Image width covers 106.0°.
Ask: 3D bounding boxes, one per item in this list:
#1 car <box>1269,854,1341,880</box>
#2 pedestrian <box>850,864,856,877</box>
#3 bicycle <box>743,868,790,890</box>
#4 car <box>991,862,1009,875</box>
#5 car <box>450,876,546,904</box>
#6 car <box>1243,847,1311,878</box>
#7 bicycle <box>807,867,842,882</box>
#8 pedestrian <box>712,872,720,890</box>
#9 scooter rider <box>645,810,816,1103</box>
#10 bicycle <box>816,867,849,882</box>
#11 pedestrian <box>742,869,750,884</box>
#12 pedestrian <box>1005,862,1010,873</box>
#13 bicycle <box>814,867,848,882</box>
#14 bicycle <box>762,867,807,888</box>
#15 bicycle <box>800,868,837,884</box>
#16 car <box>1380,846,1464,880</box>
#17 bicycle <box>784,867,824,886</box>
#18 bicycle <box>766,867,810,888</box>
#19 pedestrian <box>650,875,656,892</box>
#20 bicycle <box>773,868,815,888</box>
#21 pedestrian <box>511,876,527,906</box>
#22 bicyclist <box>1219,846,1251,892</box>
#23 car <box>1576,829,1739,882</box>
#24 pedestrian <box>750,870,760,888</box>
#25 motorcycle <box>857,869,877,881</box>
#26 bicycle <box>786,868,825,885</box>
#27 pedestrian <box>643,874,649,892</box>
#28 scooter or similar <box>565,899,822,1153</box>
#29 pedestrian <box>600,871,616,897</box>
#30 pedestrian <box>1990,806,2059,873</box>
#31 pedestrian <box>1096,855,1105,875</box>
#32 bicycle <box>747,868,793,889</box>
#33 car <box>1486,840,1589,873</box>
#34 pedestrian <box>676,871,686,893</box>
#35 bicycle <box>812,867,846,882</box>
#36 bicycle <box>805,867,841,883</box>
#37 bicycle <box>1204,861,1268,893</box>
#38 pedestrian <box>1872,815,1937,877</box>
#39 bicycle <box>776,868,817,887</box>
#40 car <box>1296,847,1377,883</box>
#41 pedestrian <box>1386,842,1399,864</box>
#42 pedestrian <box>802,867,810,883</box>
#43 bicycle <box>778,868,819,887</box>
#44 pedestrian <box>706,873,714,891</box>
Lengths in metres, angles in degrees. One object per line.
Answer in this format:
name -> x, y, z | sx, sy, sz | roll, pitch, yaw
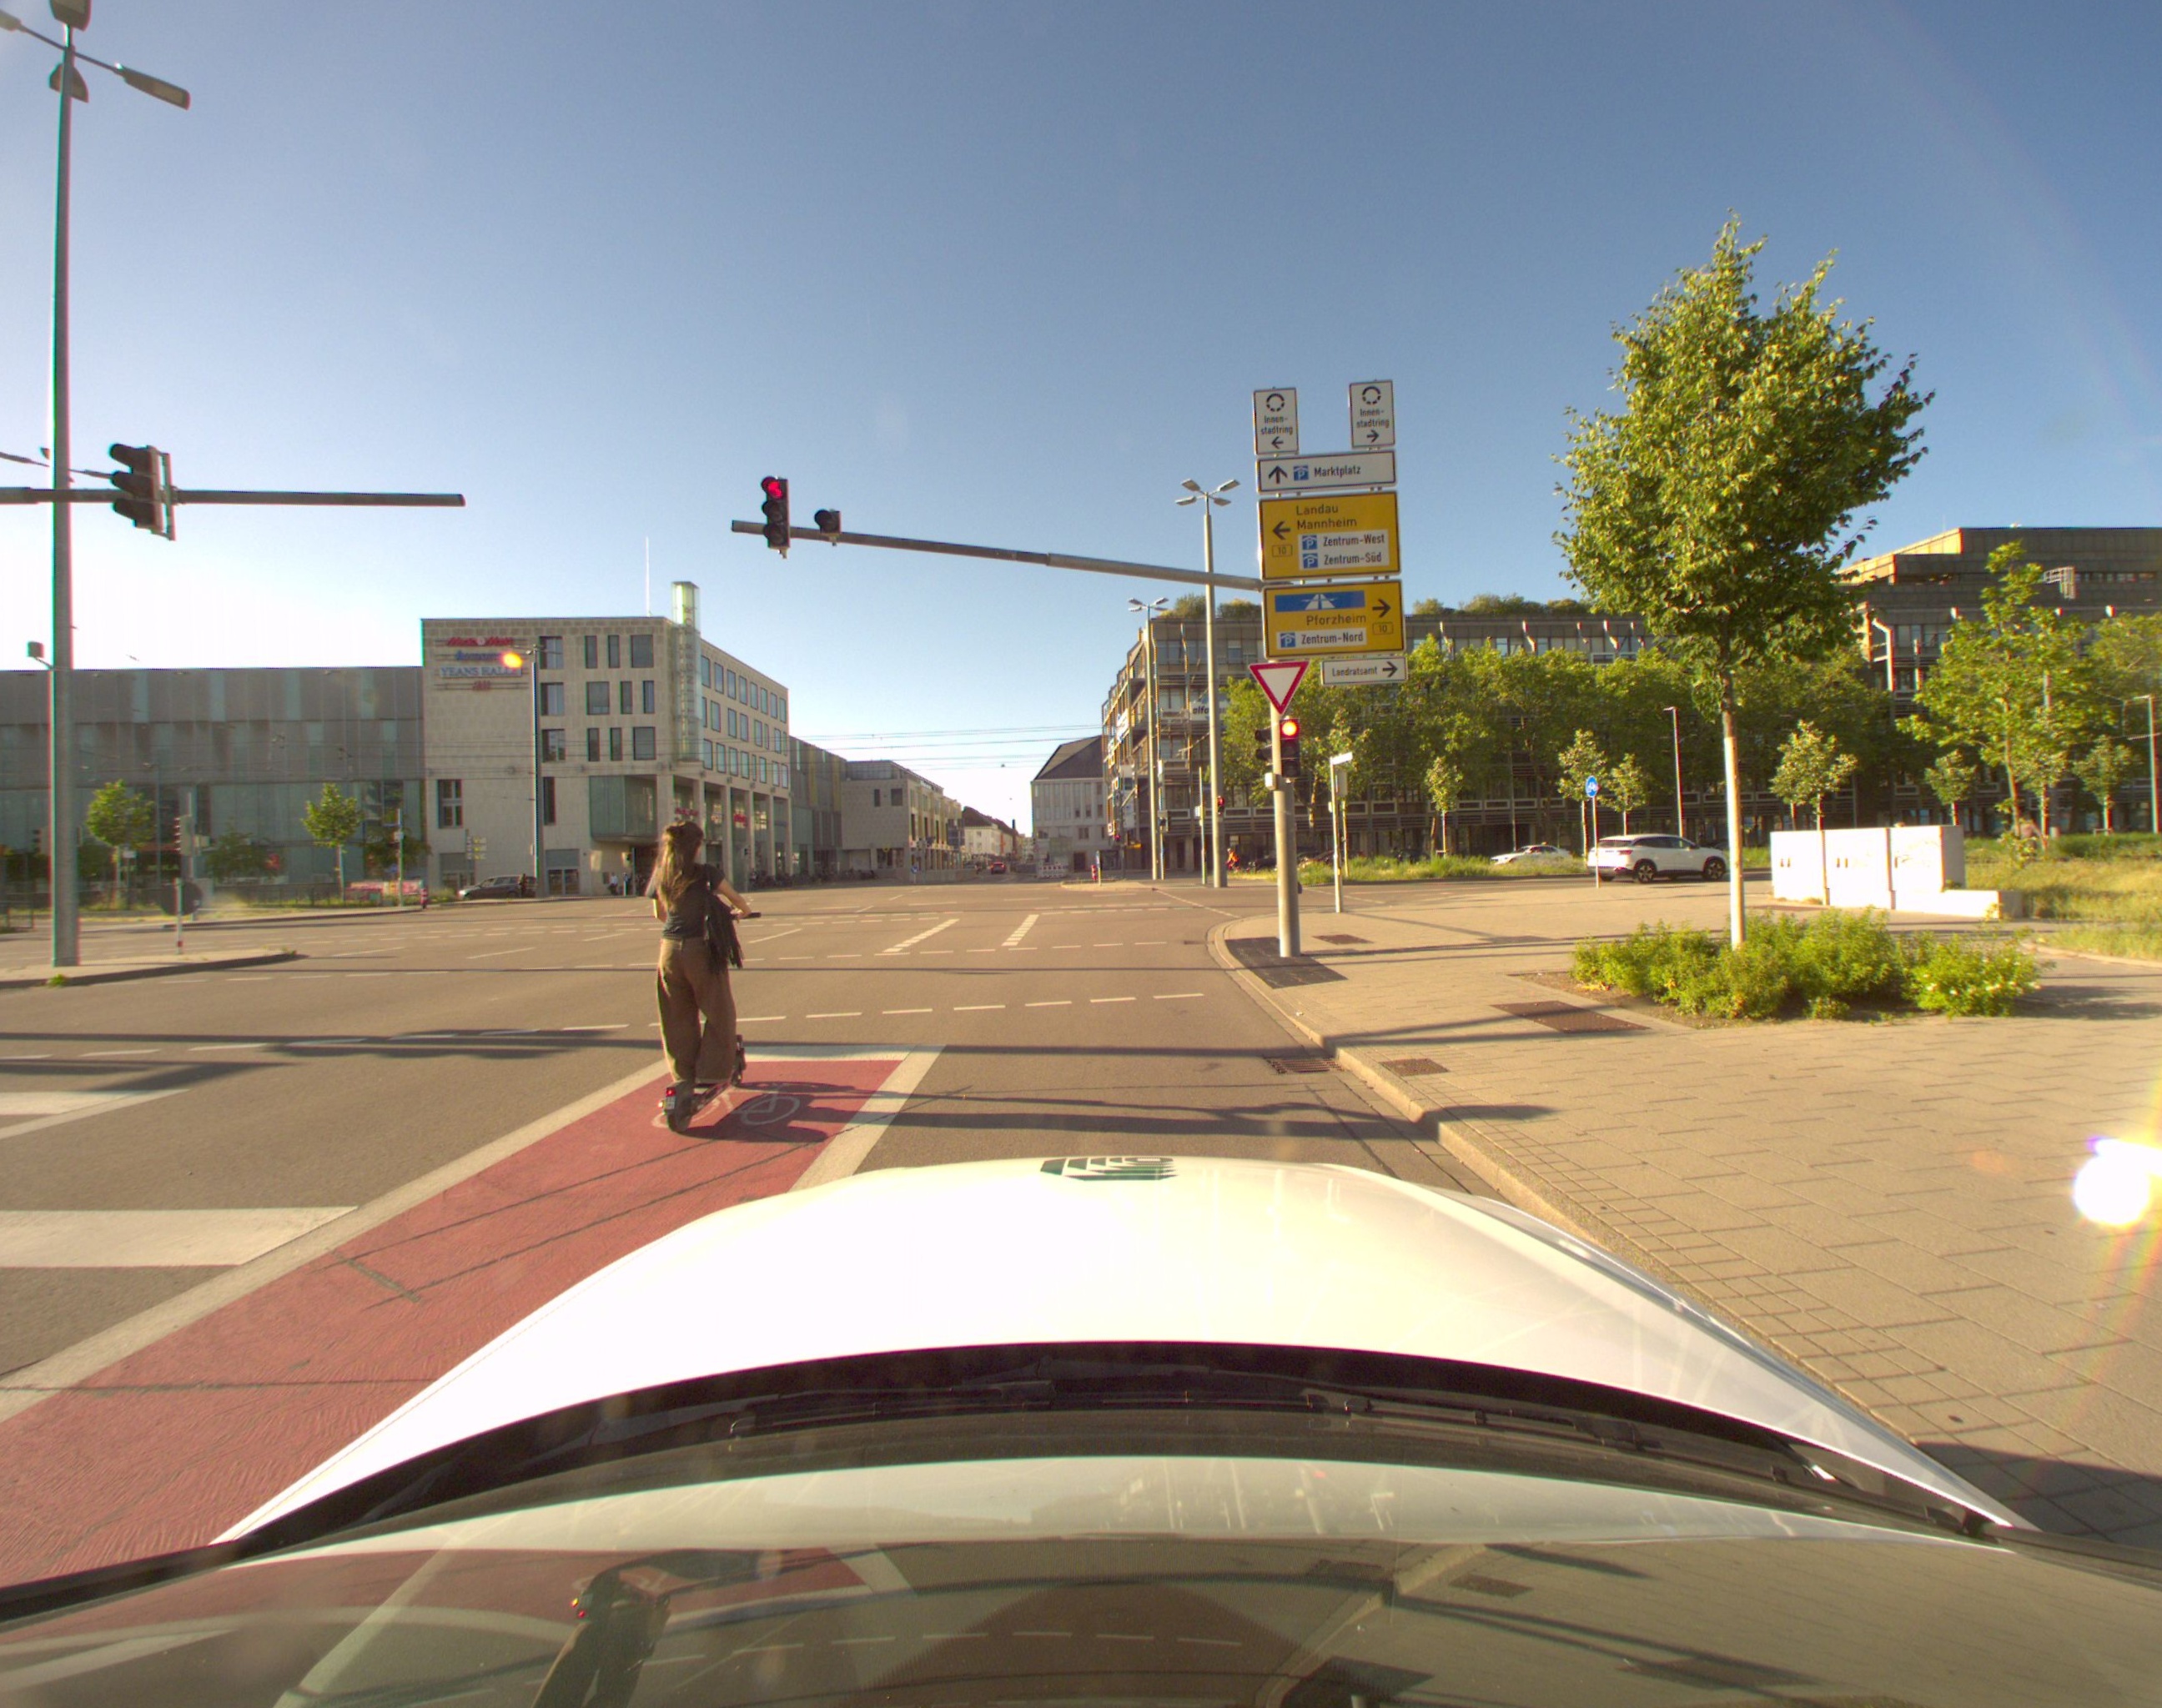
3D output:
car -> 13.851, 0.781, 50.465 | 3.976, 1.508, 1.867 | -1, 0, -2
pedestrian -> -29.911, 2.202, 106.862 | 0.697, 1.642, 0.692 | -2, 0, -10
bicycle -> -26.732, 2.098, 69.285 | 3.488, 1.696, 1.114 | -2, 0, -7
car -> -10.790, 1.883, 108.852 | 2.195, 1.607, 4.320 | -2, 0, -4
car -> -35.858, 2.184, 50.202 | 4.450, 1.607, 2.001 | 0, 0, 1
car -> 12.839, 0.559, 53.613 | 3.975, 2.014, 1.999 | 0, -1, -1
bicycle -> -27.922, 2.213, 88.570 | 3.491, 1.527, 0.984 | -2, 0, -10
pedestrian -> -32.093, 2.387, 71.621 | 0.480, 1.510, 0.513 | -2, 0, -3
scooter rider -> -2.274, 0.626, 5.381 | 0.726, 1.775, 0.811 | -1, 0, 1
bicycle -> -28.289, 2.330, 92.771 | 3.491, 1.527, 0.984 | -2, 0, -10
pedestrian -> -33.432, 2.265, 81.251 | 0.640, 1.435, 0.472 | -2, 0, -21
pedestrian -> -9.749, 1.752, 108.648 | 0.608, 1.411, 0.569 | -2, 0, -5
bicycle -> -28.172, 2.293, 91.740 | 3.491, 1.527, 0.984 | -2, 0, -10
bicycle -> -26.144, 2.071, 71.946 | 3.488, 1.696, 1.114 | -2, 0, -7
bicycle -> -27.548, 2.292, 85.573 | 3.491, 1.527, 0.984 | -2, 0, -10
car -> 21.405, 0.559, 51.237 | 4.435, 2.014, 1.998 | 0, -1, -4
bicycle -> -27.248, 2.235, 80.155 | 3.491, 1.696, 0.984 | -2, 0, -10
bicycle -> -26.320, 2.117, 73.167 | 3.488, 1.696, 1.114 | -2, 0, -7
pedestrian -> -35.259, 2.409, 67.128 | 0.388, 1.412, 0.434 | -2, 0, -27
bicycle -> -26.680, 2.182, 75.753 | 3.491, 1.696, 0.984 | -2, 0, -10
pedestrian -> -32.634, 2.151, 47.259 | 0.525, 1.694, 0.546 | -2, 0, -8
bicyclist -> 8.885, 0.854, 47.061 | 1.566, 2.580, 0.929 | -2, 0, -7
car -> 19.269, 0.015, 27.303 | 4.391, 1.660, 1.994 | -1, 1, -10
pedestrian -> -30.449, 2.301, 76.145 | 0.788, 1.642, 0.689 | -2, 0, -27
motorcycle -> -25.968, 2.536, 98.858 | 2.269, 1.318, 0.719 | -2, 0, -4
bicycle -> -27.410, 2.228, 81.152 | 3.491, 1.527, 0.984 | -2, 0, -10
pedestrian -> -35.656, 2.399, 66.754 | 0.389, 1.426, 0.497 | -2, 0, -32
scooter or similar -> -2.263, 0.933, 5.027 | 0.725, 1.202, 1.665 | -1, 0, 2
pedestrian -> -34.243, 2.175, 58.933 | 0.757, 1.798, 0.734 | -2, 0, -9
pedestrian -> 25.149, -0.388, 21.717 | 0.694, 1.728, 0.939 | -2, 0, -12
pedestrian -> 1.648, 0.914, 69.687 | 0.661, 1.658, 0.755 | -2, 0, -1
bicycle -> -26.910, 2.118, 70.486 | 3.488, 1.696, 1.114 | -2, 0, -7
car -> 28.892, 0.142, 51.643 | 5.424, 2.014, 2.097 | 0, -1, -1
pedestrian -> -30.430, 2.153, 61.909 | 0.541, 1.642, 0.547 | -2, 0, -16
bicycle -> -27.930, 2.251, 90.347 | 3.491, 1.527, 0.984 | -2, 0, -10
bicycle -> -27.653, 2.213, 87.441 | 3.491, 1.527, 0.984 | -2, 0, -10
bicycle -> 8.926, 1.314, 47.057 | 3.488, 1.659, 0.929 | -2, 0, -7
pedestrian -> 22.742, -0.216, 22.502 | 0.801, 1.630, 0.939 | -2, 0, -12
bicycle -> -26.856, 2.200, 76.850 | 3.491, 1.696, 0.984 | -2, 0, -10
car -> 14.452, 0.618, 46.199 | 3.975, 2.014, 1.999 | 0, -1, -1
pedestrian -> 24.790, -0.072, 64.734 | 0.662, 1.658, 0.739 | -2, 0, -5
pedestrian -> -30.132, 2.304, 89.104 | 0.652, 1.642, 0.693 | -2, 0, -7
bicycle -> -27.044, 2.212, 78.058 | 3.491, 1.696, 0.984 | -2, 0, -10
pedestrian -> -32.345, 2.430, 70.996 | 0.480, 1.585, 0.513 | -2, 0, -3
